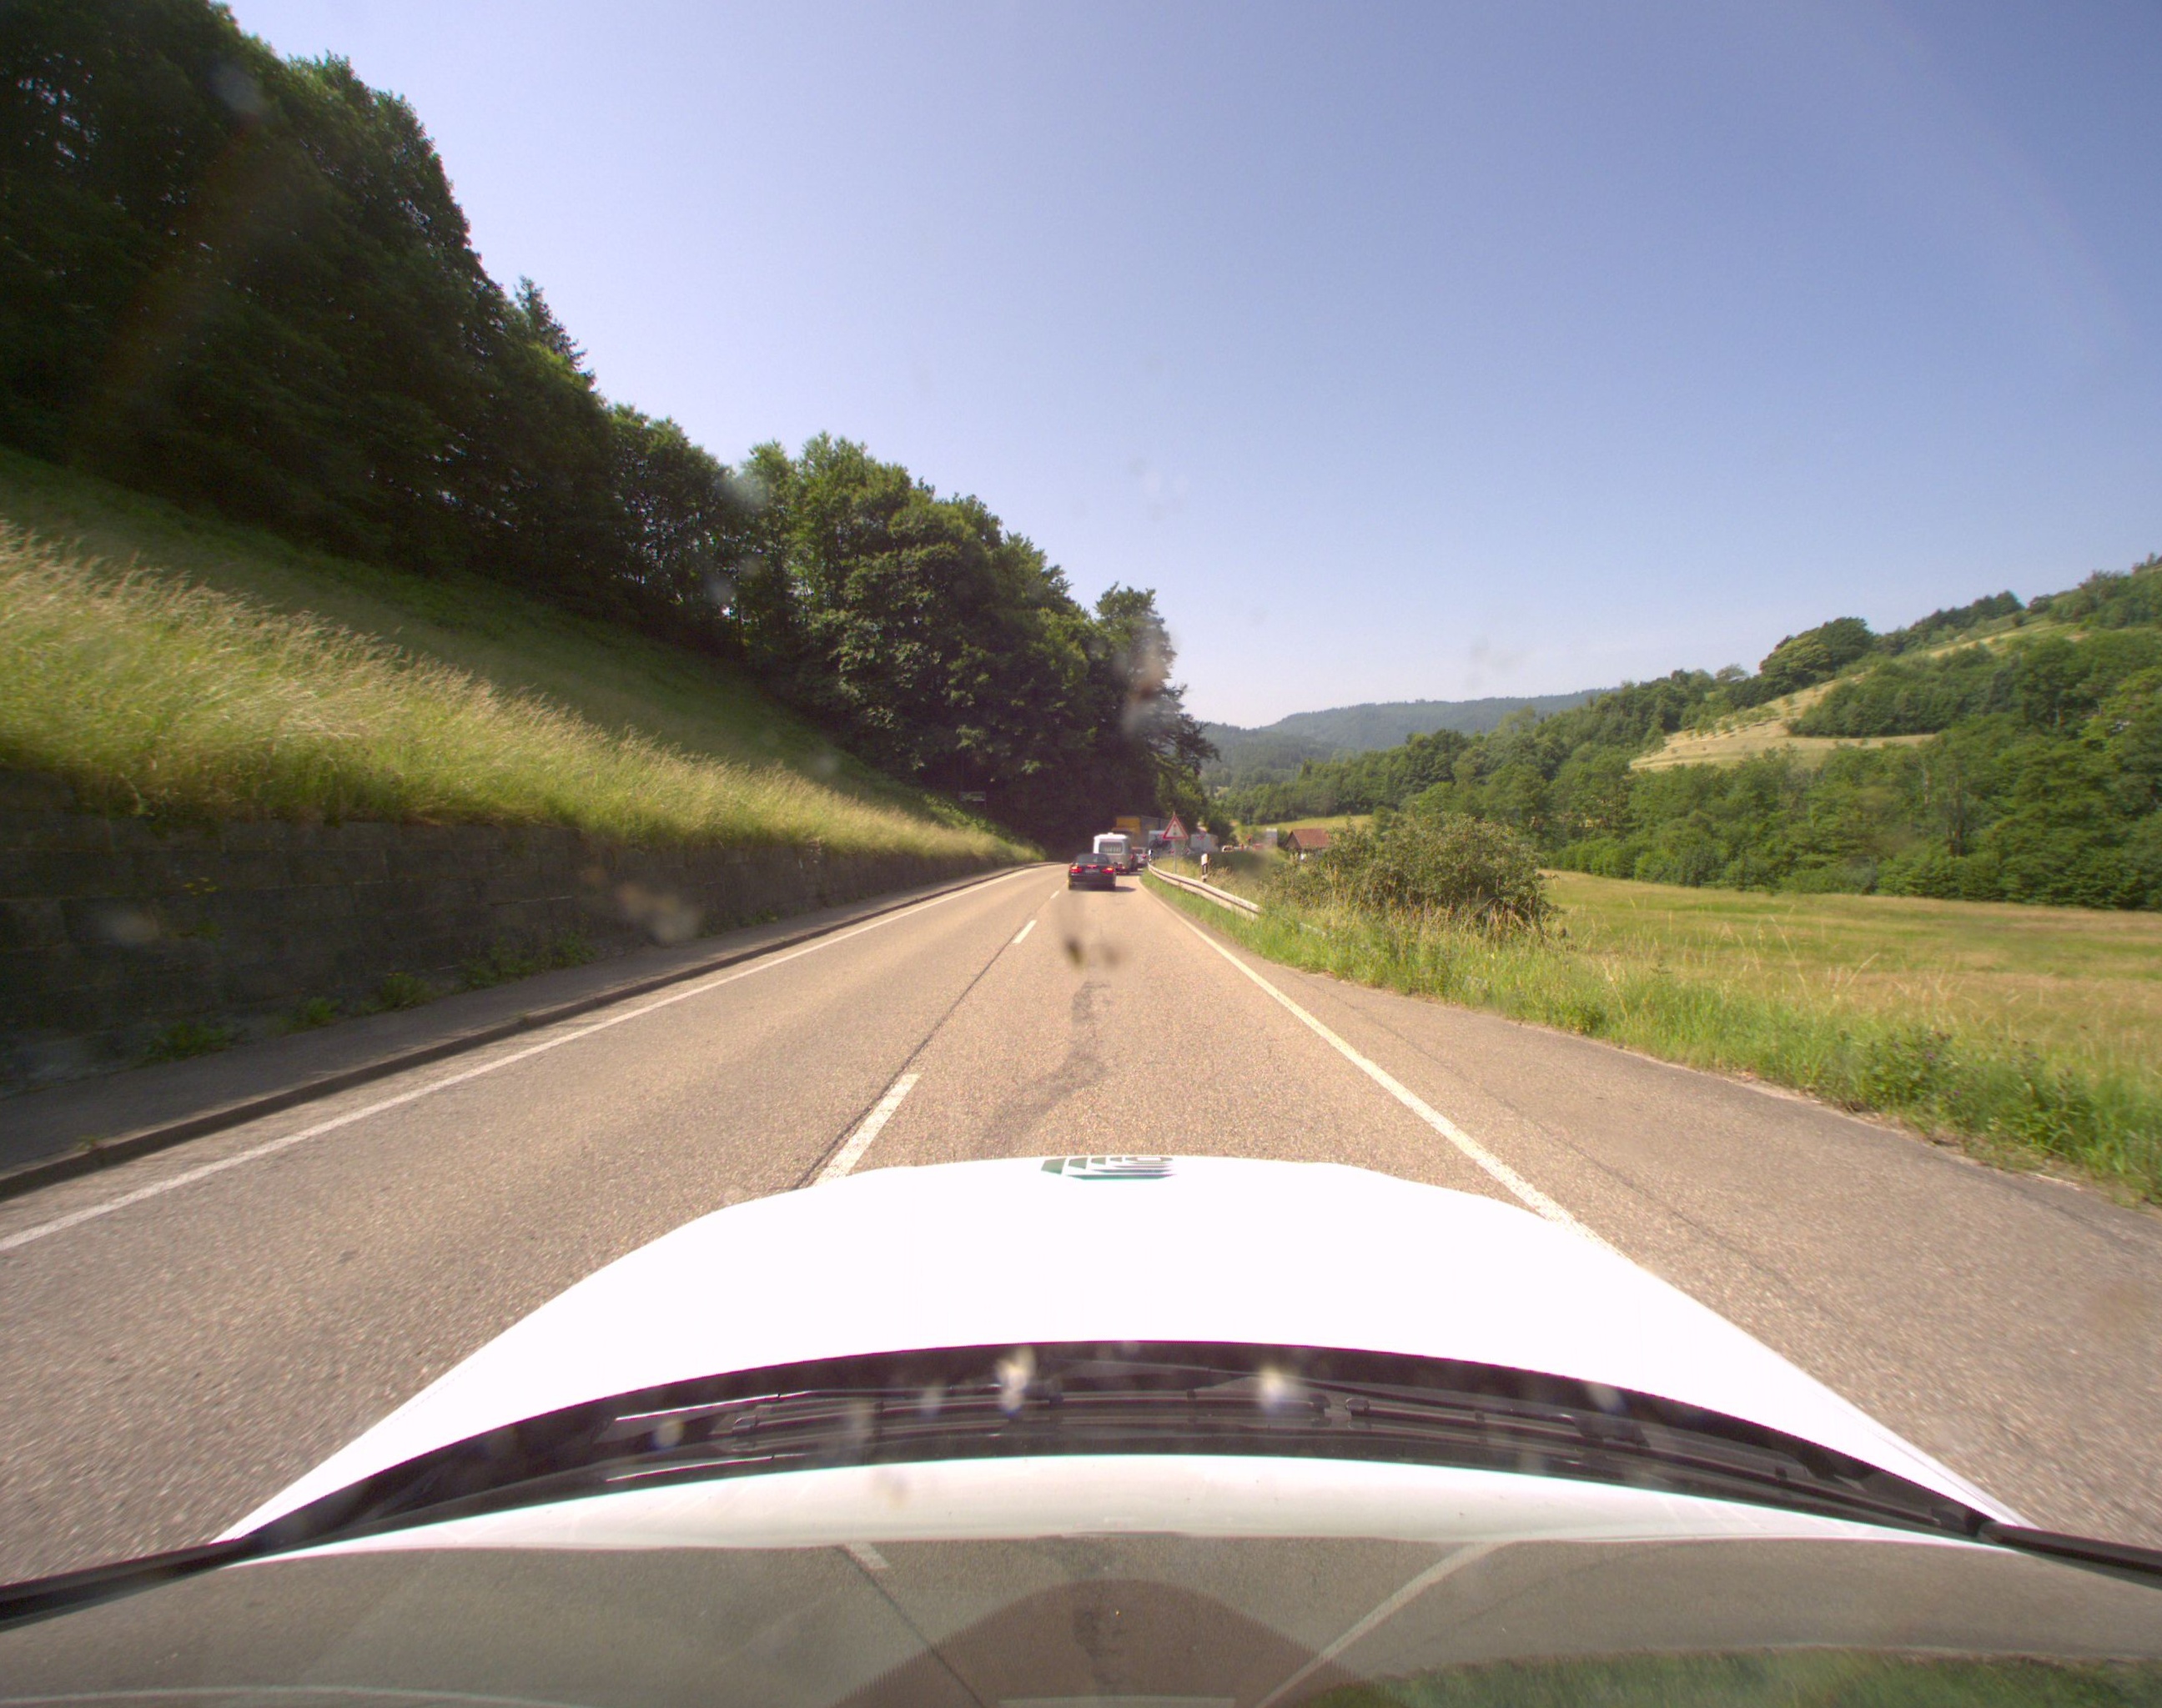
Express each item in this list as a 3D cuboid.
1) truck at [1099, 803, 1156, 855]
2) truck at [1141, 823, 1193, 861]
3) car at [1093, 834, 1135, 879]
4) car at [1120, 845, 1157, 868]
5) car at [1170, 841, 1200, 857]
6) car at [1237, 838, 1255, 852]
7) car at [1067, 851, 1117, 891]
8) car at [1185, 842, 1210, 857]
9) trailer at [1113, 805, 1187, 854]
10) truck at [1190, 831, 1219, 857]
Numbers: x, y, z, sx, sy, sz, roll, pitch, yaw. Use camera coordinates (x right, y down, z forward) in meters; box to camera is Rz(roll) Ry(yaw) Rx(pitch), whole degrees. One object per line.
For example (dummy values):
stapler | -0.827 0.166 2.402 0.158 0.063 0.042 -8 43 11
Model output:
truck | 4.342 -2.263 73.914 3.161 4.396 6.606 2 2 21
truck | 7.523 -1.019 70.527 2.768 2.997 6.902 3 2 20
car | 1.908 0.071 46.012 1.983 2.352 4.924 1 2 6
car | 4.159 0.154 58.239 1.980 1.484 4.014 2 1 13
car | 10.127 -0.497 79.065 1.978 1.463 4.019 3 2 19
car | 25.033 -1.396 123.419 1.977 1.925 4.022 3 2 22
car | 0.411 0.599 30.645 1.765 1.335 3.767 1 1 1
car | 12.271 -0.516 85.553 1.773 1.463 4.020 3 2 20
trailer | 7.233 -2.375 81.509 3.232 4.417 15.395 1 1 21
truck | 14.055 -1.111 92.215 2.220 2.804 6.260 1 0 17
